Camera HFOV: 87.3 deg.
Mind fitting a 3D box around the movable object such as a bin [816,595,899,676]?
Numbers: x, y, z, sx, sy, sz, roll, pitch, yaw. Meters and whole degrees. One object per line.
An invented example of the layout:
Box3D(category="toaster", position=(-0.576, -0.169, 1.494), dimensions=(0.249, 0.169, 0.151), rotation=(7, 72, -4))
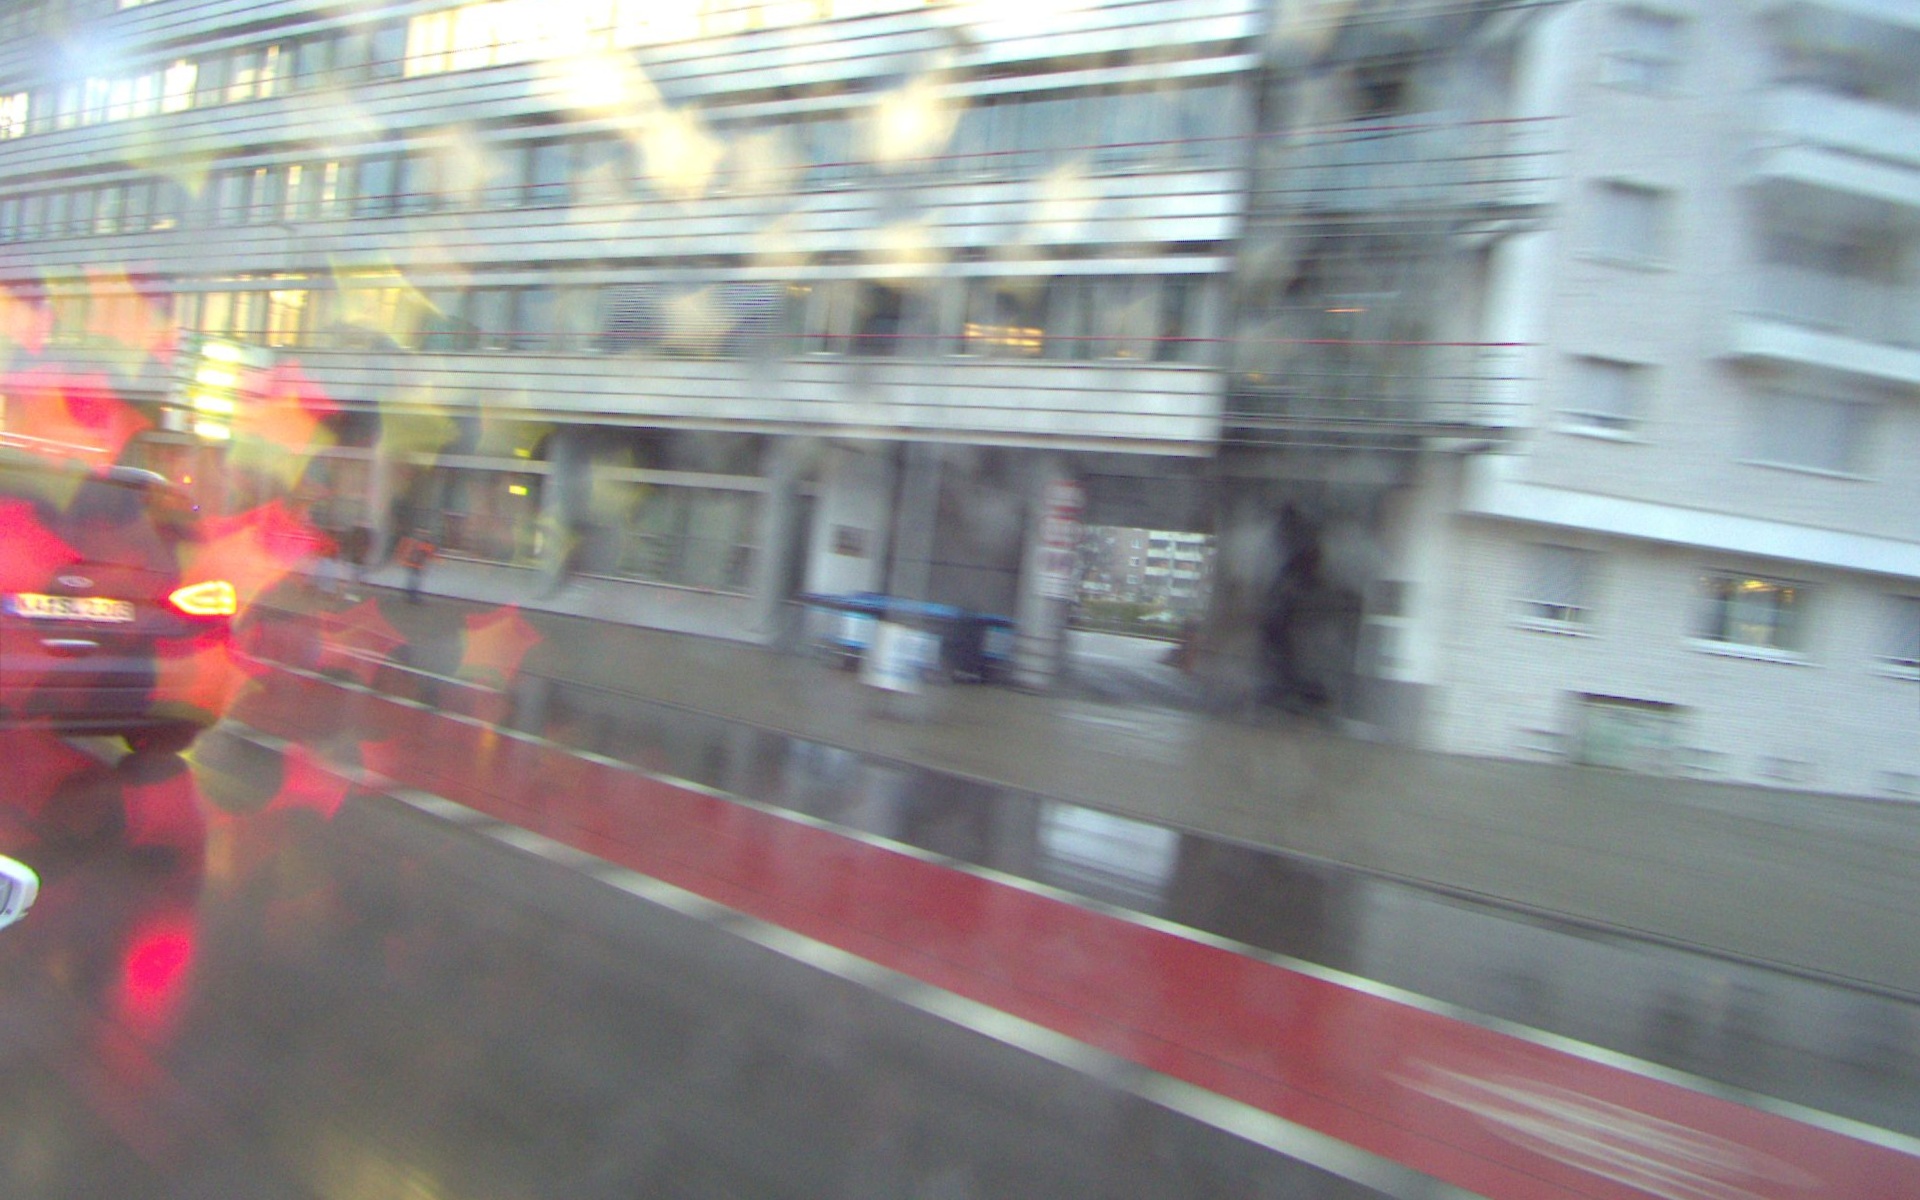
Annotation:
Box3D(category="movable object such as a bin", position=(-1.868, 0.639, 18.470), dimensions=(1.147, 1.311, 0.846), rotation=(7, 2, 21))

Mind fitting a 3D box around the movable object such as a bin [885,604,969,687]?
Box3D(category="movable object such as a bin", position=(-0.582, 0.794, 17.987), dimensions=(1.147, 1.311, 0.846), rotation=(7, 2, 21))

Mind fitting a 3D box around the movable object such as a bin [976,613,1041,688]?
Box3D(category="movable object such as a bin", position=(0.950, 0.960, 19.548), dimensions=(0.946, 1.322, 0.730), rotation=(7, 2, 21))

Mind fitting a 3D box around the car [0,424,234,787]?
Box3D(category="car", position=(-6.374, -0.143, 6.127), dimensions=(3.934, 1.800, 1.677), rotation=(7, -1, 32))

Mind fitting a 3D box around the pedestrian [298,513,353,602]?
Box3D(category="pedestrian", position=(-12.820, -0.859, 20.336), dimensions=(0.732, 1.704, 0.531), rotation=(7, 1, 31))

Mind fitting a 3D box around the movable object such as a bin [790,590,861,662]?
Box3D(category="movable object such as a bin", position=(-2.666, 0.511, 20.022), dimensions=(0.994, 1.311, 0.867), rotation=(7, 2, 21))

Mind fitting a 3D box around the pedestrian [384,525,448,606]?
Box3D(category="pedestrian", position=(-11.818, -0.747, 21.868), dimensions=(0.887, 1.645, 0.727), rotation=(7, 1, 31))

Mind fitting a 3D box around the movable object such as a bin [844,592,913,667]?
Box3D(category="movable object such as a bin", position=(-1.662, 0.589, 20.574), dimensions=(1.060, 1.401, 0.730), rotation=(7, 2, 21))

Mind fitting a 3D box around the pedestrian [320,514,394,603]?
Box3D(category="pedestrian", position=(-12.595, -0.861, 21.018), dimensions=(1.051, 1.707, 0.794), rotation=(7, 1, 31))

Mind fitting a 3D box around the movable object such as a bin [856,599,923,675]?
Box3D(category="movable object such as a bin", position=(-1.353, 0.700, 19.300), dimensions=(0.946, 1.322, 0.730), rotation=(7, 2, 21))
